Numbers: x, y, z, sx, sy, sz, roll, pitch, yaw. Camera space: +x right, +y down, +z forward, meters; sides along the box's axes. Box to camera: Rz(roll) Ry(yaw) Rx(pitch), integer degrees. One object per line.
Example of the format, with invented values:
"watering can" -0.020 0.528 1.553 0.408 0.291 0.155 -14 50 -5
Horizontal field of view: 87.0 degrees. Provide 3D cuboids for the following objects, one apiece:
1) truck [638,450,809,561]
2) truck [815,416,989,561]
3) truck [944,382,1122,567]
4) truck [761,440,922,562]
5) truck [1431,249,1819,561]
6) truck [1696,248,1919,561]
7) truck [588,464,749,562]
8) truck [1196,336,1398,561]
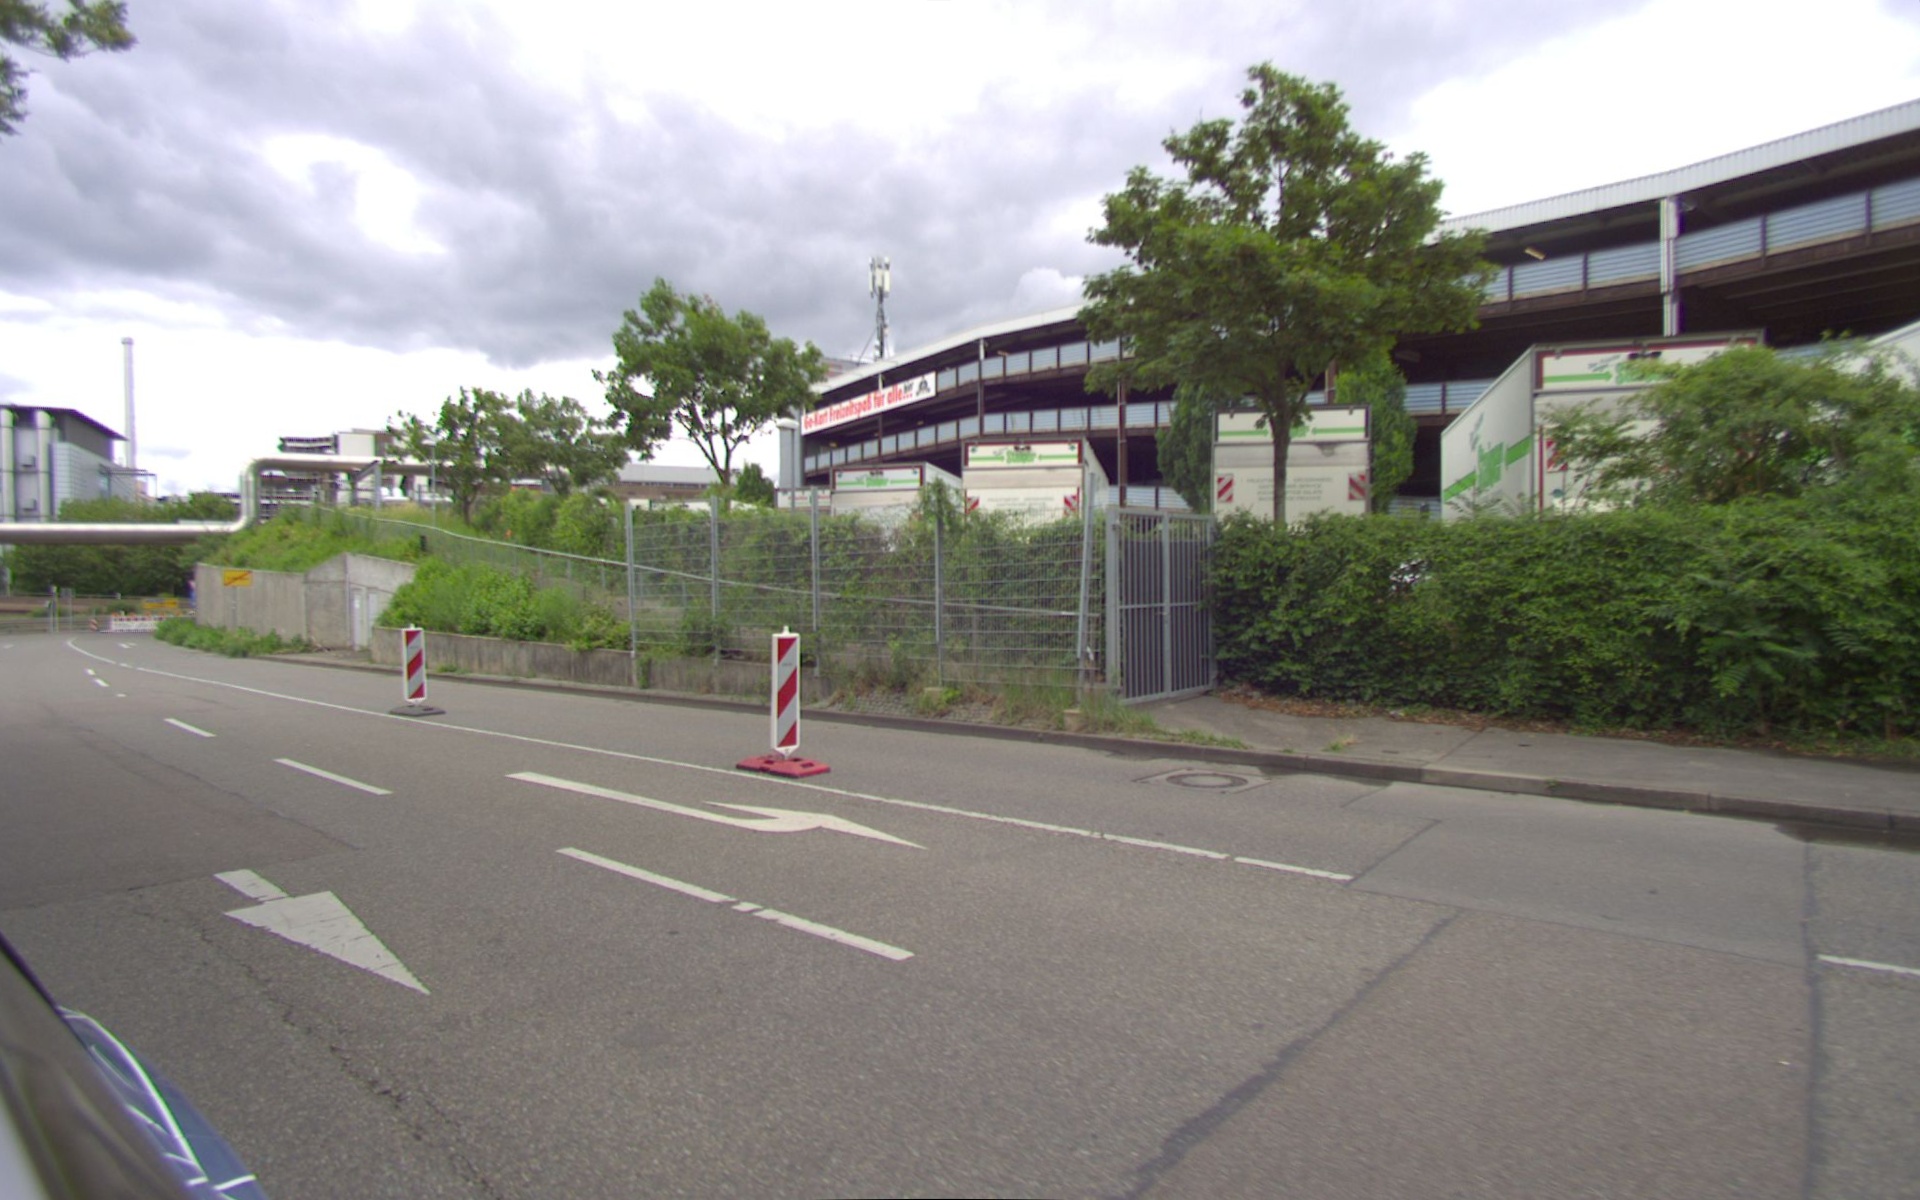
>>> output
"truck" -8.398 -3.259 37.151 3.022 3.564 7.835 1 2 13
"truck" -1.409 -2.970 29.547 3.022 3.564 7.835 1 2 13
"truck" 2.059 -2.622 24.096 3.022 3.564 8.123 1 2 13
"truck" -3.749 -3.136 34.440 3.022 3.564 7.835 1 2 13
"truck" 9.771 -2.465 16.108 3.027 3.564 7.822 1 2 18
"truck" 13.032 -2.343 12.964 3.024 3.564 7.830 1 2 15
"truck" -11.799 -3.432 41.912 3.022 3.564 7.835 1 2 13
"truck" 6.430 -2.629 20.567 3.022 3.564 7.835 1 2 13
